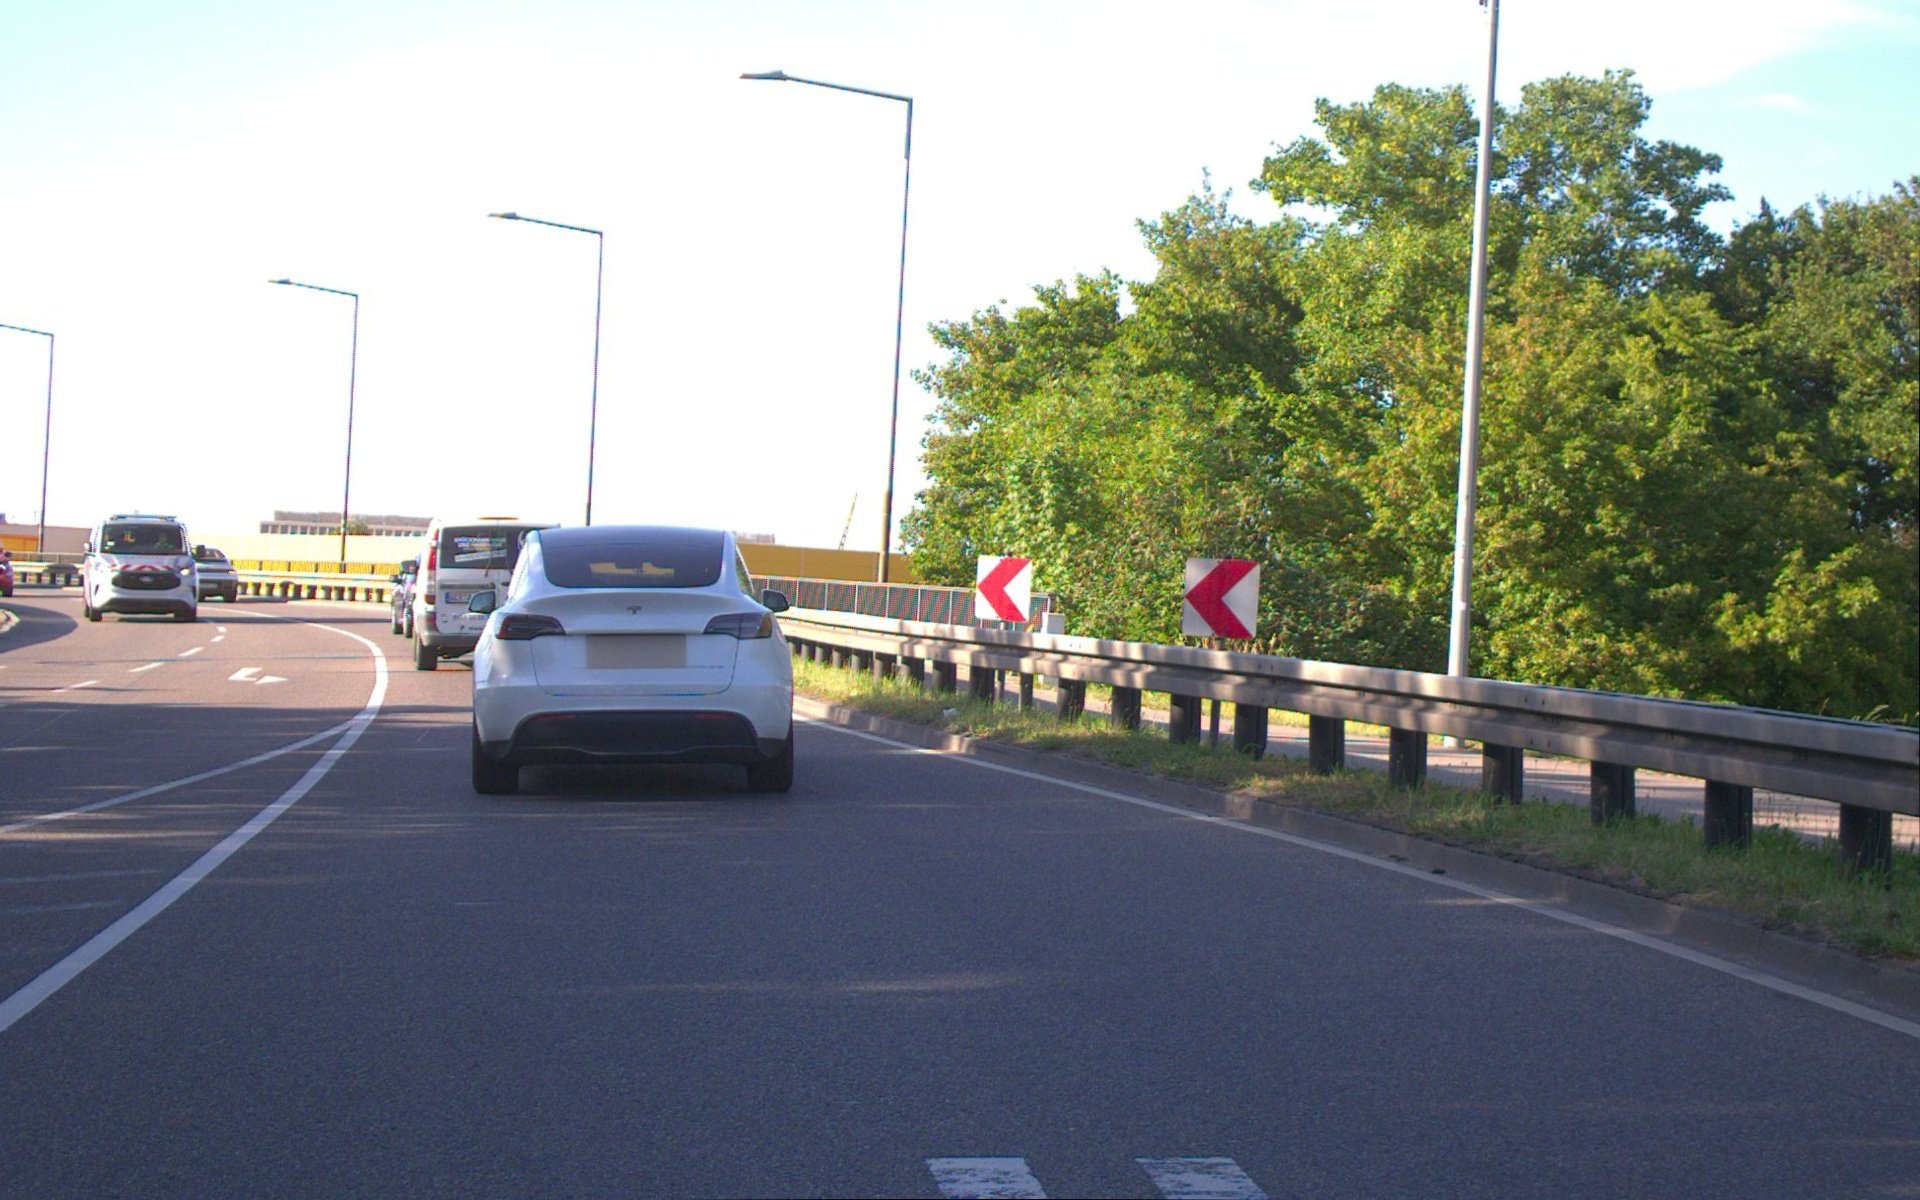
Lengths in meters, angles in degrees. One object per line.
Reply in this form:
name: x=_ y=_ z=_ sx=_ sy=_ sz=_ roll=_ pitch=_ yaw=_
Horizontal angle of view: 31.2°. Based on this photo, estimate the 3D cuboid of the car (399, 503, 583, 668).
car: x=-5.907 y=-0.211 z=42.912 sx=2.004 sy=1.934 sz=4.469 roll=1 pitch=1 yaw=-11

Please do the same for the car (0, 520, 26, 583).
car: x=-25.959 y=-1.313 z=91.247 sx=1.803 sy=1.632 sz=4.001 roll=1 pitch=1 yaw=-21

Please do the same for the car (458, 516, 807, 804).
car: x=-2.131 y=0.302 z=21.718 sx=1.985 sy=1.632 sz=4.064 roll=0 pitch=1 yaw=-7

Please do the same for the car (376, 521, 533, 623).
car: x=-8.436 y=-0.487 z=57.091 sx=1.968 sy=1.632 sz=4.001 roll=-1 pitch=1 yaw=-17

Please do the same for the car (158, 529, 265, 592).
car: x=-19.194 y=-1.031 z=88.067 sx=1.993 sy=1.533 sz=4.001 roll=1 pitch=1 yaw=-22

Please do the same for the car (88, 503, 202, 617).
car: x=-15.723 y=-0.797 z=66.161 sx=1.948 sy=2.105 sz=5.272 roll=0 pitch=1 yaw=-15

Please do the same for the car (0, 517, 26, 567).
car: x=-30.451 y=-1.823 z=106.836 sx=1.835 sy=1.550 sz=3.894 roll=0 pitch=1 yaw=-30
